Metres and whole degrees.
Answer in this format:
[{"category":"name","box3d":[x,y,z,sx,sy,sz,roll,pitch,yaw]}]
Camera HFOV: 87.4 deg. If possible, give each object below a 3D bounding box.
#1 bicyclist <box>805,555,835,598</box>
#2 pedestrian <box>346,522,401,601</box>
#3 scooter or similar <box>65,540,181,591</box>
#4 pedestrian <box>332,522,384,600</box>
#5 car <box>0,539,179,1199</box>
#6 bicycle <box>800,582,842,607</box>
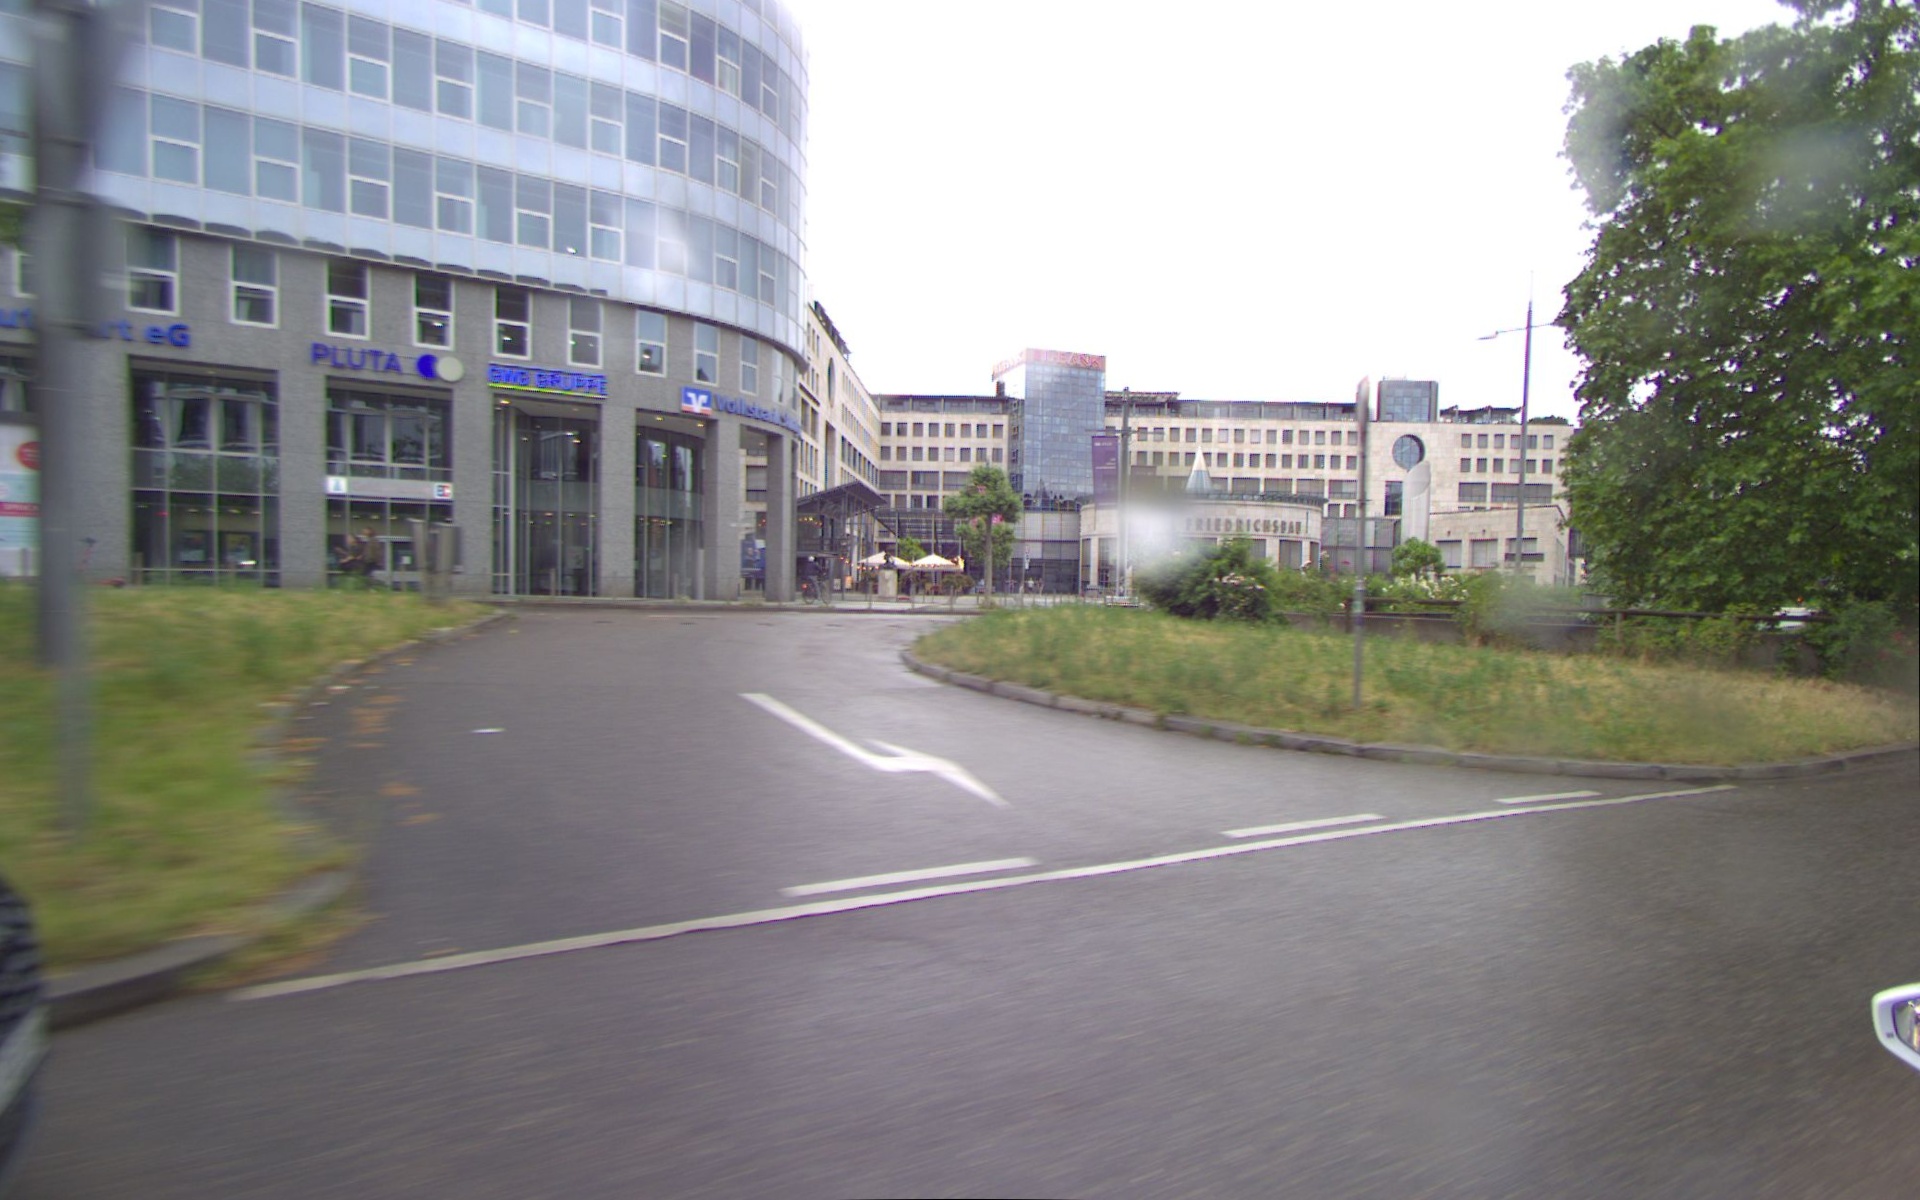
[{"category":"bicyclist","box3d":[-5.900,-0.993,42.427,0.726,1.764,1.040,2,1,29]},{"category":"pedestrian","box3d":[-15.666,-1.018,26.839,1.028,2.040,1.042,2,1,-43]},{"category":"scooter or similar","box3d":[-21.863,-0.888,26.301,2.223,1.229,0.768,2,1,-34]},{"category":"pedestrian","box3d":[-16.431,-1.052,27.423,1.028,2.040,0.841,2,1,-43]},{"category":"car","box3d":[-3.638,0.595,0.949,4.293,1.538,1.852,2,1,-29]},{"category":"bicycle","box3d":[-5.876,-0.219,42.532,0.733,1.020,1.931,2,1,29]}]
